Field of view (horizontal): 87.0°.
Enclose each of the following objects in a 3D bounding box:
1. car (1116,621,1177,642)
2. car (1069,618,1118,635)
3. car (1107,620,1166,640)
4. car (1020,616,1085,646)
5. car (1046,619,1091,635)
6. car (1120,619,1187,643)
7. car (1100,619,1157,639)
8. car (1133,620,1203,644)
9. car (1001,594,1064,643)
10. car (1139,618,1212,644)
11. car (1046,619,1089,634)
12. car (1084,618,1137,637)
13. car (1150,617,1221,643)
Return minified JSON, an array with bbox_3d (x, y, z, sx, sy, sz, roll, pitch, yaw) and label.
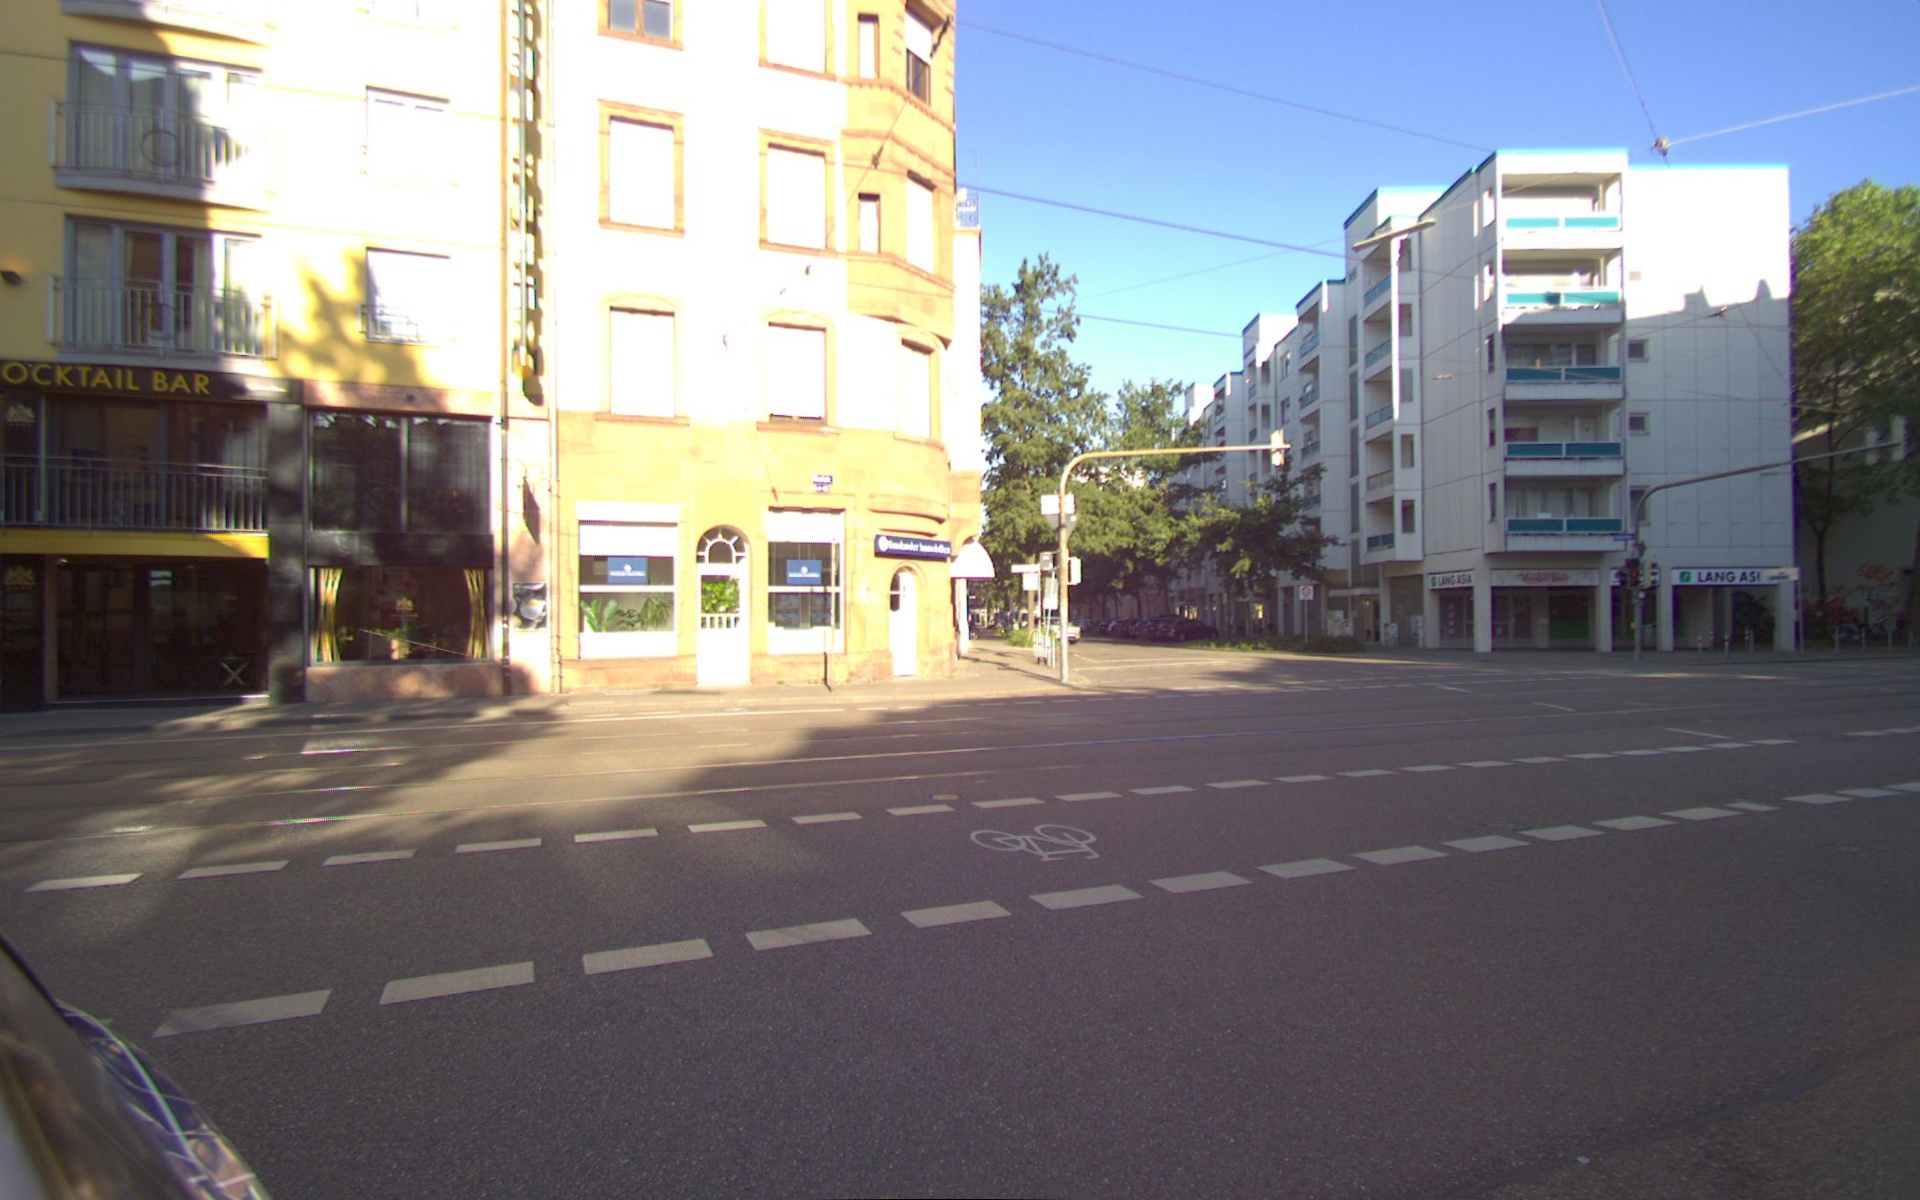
[{"bbox_3d":[14.318,2.401,77.772,4.239,1.597,2.002,0,-1,-5],"label":"car"},{"bbox_3d":[12.648,2.509,95.751,4.239,1.597,2.002,0,-1,-5],"label":"car"},{"bbox_3d":[14.101,2.394,81.056,4.239,1.597,2.002,0,-1,-5],"label":"car"},{"bbox_3d":[5.551,1.870,61.315,1.966,1.763,4.012,0,-1,-29],"label":"car"},{"bbox_3d":[11.317,2.775,105.756,4.239,1.597,2.002,0,-1,-5],"label":"car"},{"bbox_3d":[13.672,2.190,71.649,4.237,1.597,2.003,0,-1,-7],"label":"car"},{"bbox_3d":[13.882,2.389,83.463,4.239,1.597,2.002,0,-1,-5],"label":"car"},{"bbox_3d":[14.222,2.192,69.261,4.237,1.597,2.003,0,-1,-7],"label":"car"},{"bbox_3d":[5.009,1.320,71.626,3.276,3.203,8.091,0,-1,-5],"label":"car"},{"bbox_3d":[14.179,2.027,66.674,4.237,1.597,2.003,0,-1,-7],"label":"car"},{"bbox_3d":[11.752,2.913,110.763,4.239,1.597,2.002,0,-1,-5],"label":"car"},{"bbox_3d":[13.105,2.381,88.312,4.239,1.597,2.002,0,-1,-5],"label":"car"},{"bbox_3d":[14.299,1.878,64.231,3.937,1.597,2.003,0,-1,-7],"label":"car"}]
